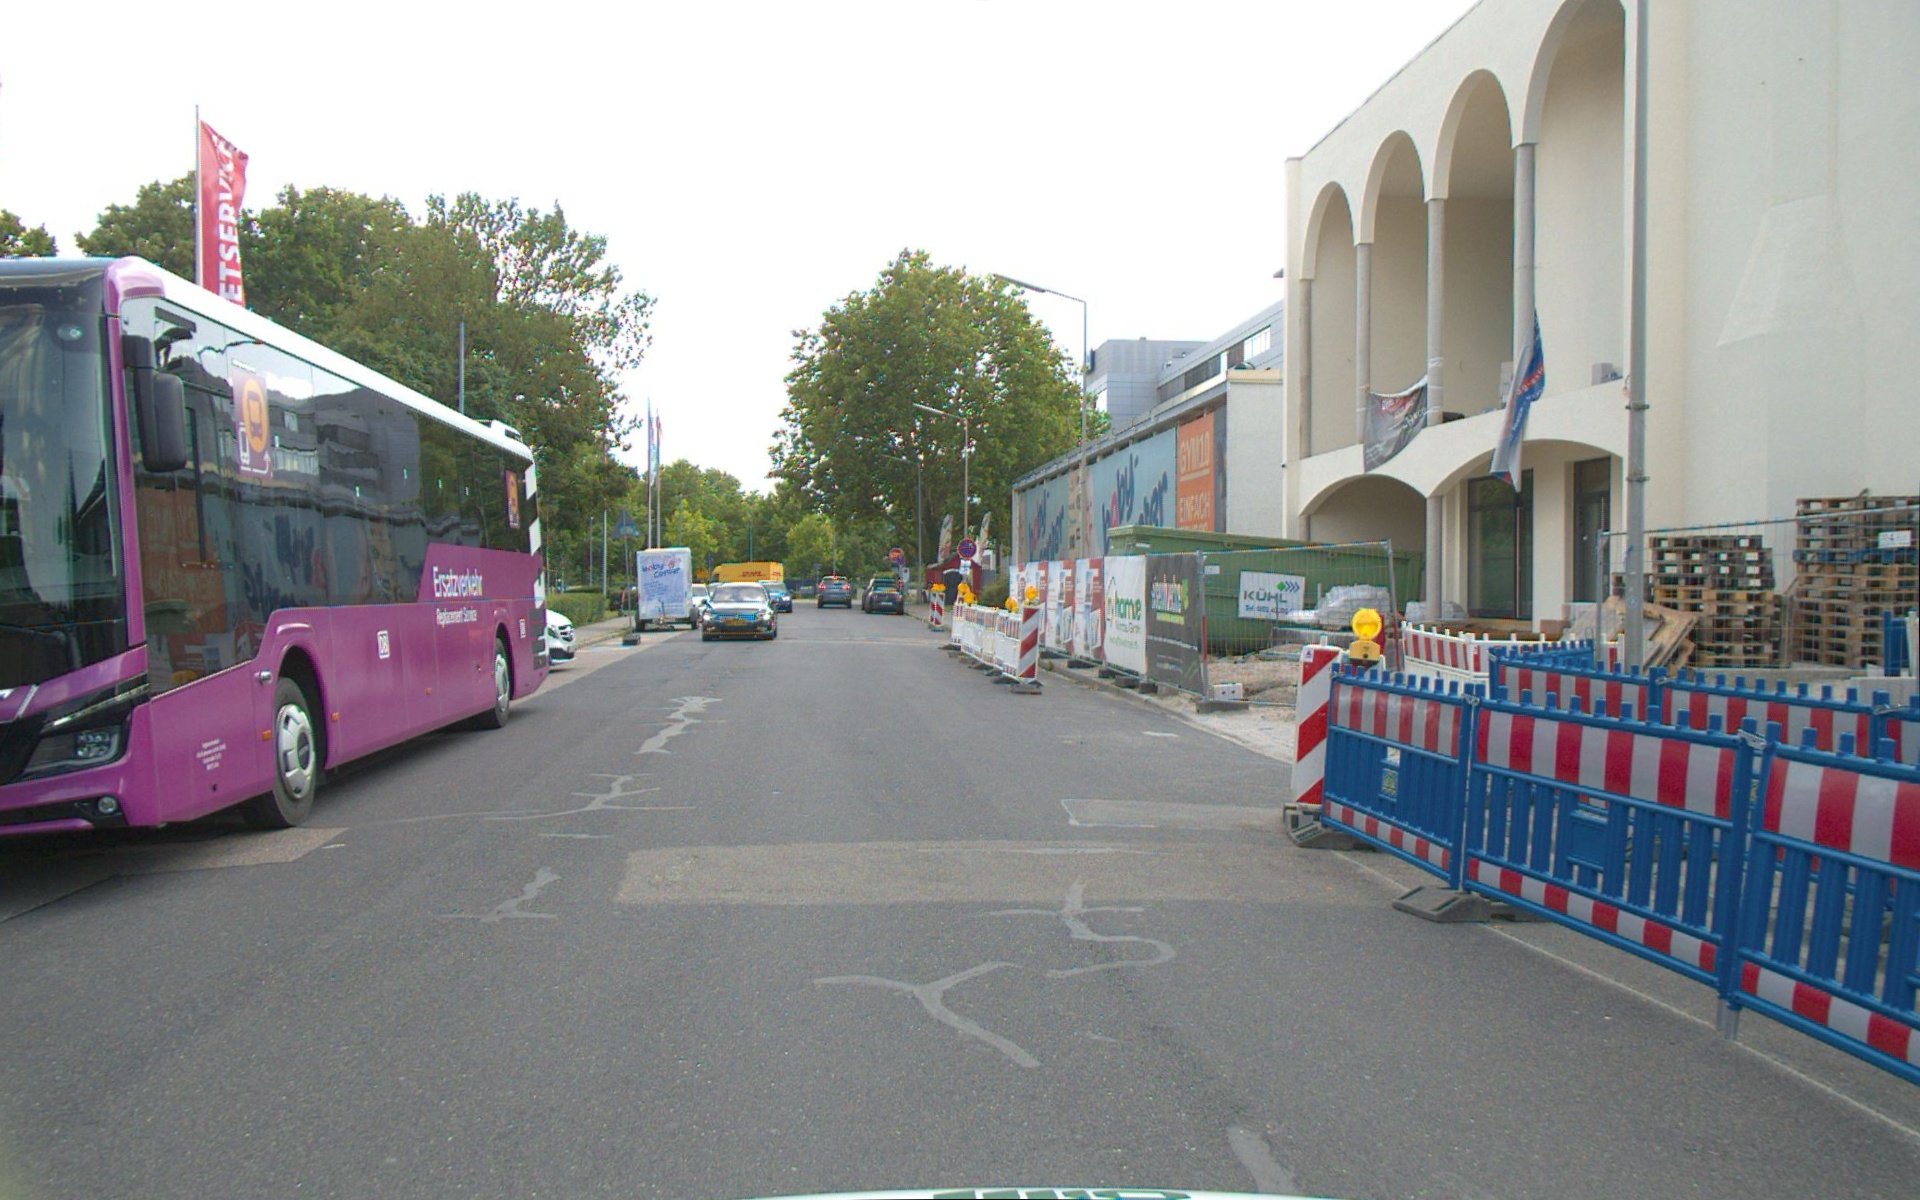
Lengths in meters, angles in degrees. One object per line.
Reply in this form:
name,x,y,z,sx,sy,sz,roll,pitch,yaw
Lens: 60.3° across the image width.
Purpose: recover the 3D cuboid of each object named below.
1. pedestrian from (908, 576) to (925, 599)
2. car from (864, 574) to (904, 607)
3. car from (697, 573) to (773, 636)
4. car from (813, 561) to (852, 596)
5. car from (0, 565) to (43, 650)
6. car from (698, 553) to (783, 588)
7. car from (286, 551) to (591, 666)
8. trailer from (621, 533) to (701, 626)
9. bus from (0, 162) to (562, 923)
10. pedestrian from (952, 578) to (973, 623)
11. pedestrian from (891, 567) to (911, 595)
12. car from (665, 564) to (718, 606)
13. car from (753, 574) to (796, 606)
pedestrian,-2.643,-0.755,100.437,0.992,1.336,0.965,1,1,3
car,-3.693,-0.480,80.063,1.772,1.415,4.585,3,1,-4
car,-5.813,0.066,43.149,1.761,1.484,4.380,-1,2,-5
car,-7.052,-1.188,90.976,1.925,1.847,4.269,0,1,-7
car,-19.127,0.107,29.319,4.592,1.479,1.953,0,1,-5
car,-16.919,-2.306,127.537,6.253,2.623,2.206,1,1,22
car,-9.420,0.119,30.161,4.898,1.983,1.992,1,1,0
trailer,-9.649,-0.706,53.720,2.098,2.831,4.698,-2,1,-6
bus,-5.834,-0.353,14.105,2.611,3.482,13.206,-3,2,-5
pedestrian,0.084,0.010,58.242,0.667,1.560,1.129,1,1,-4
pedestrian,-4.028,-1.281,112.229,0.987,1.881,1.221,0,1,-23
car,-10.394,-0.602,64.217,1.731,1.505,4.230,-2,2,-6
car,-8.808,-0.504,78.832,1.885,1.401,4.376,0,1,-5
